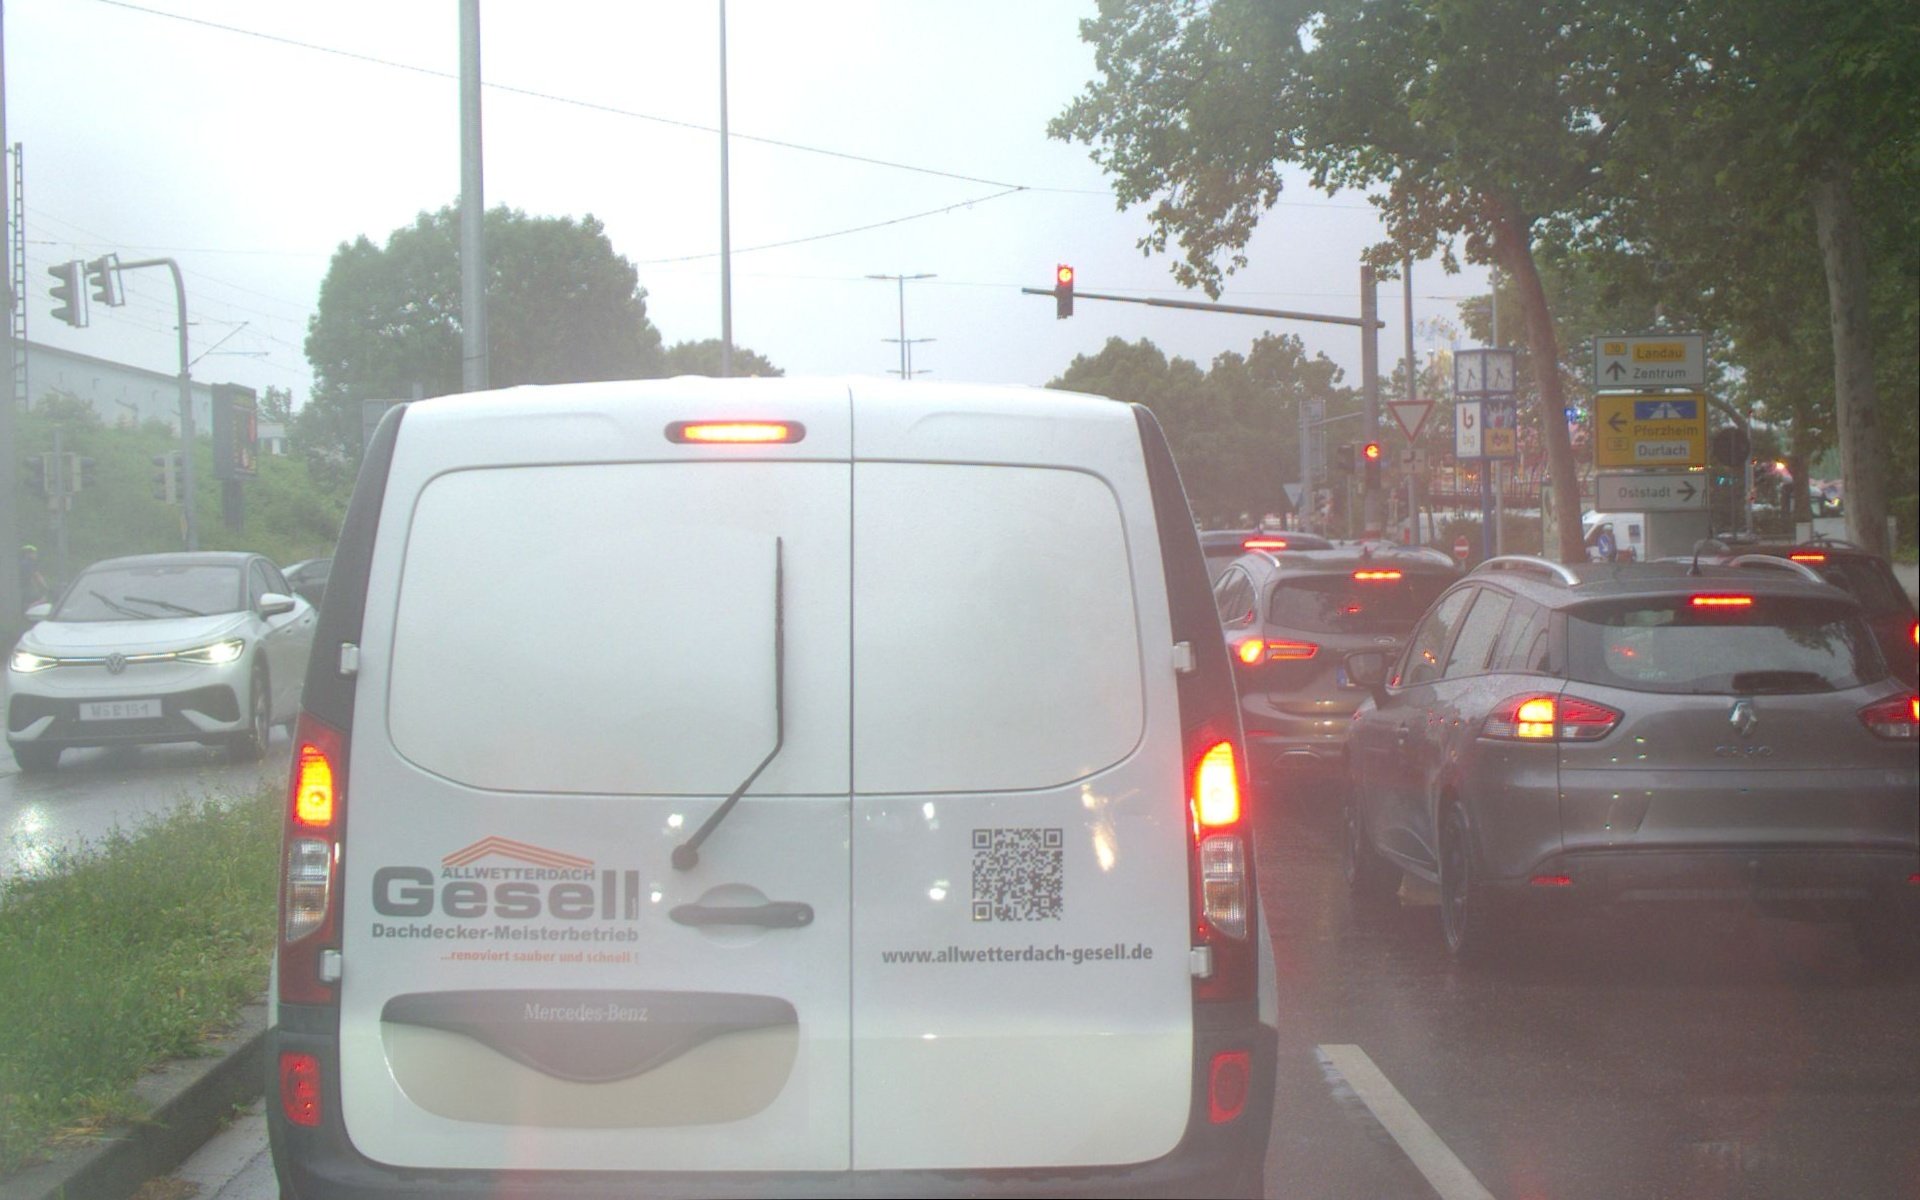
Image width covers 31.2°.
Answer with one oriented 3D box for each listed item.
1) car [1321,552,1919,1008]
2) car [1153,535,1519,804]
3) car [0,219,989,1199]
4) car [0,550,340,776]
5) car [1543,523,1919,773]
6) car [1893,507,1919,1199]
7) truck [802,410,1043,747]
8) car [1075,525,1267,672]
[{"bbox_3d":[2.481,0.560,13.203,1.711,1.440,4.000,0,1,-1],"label":"car"},{"bbox_3d":[2.155,0.339,20.675,1.711,1.440,4.000,0,1,-1],"label":"car"},{"bbox_3d":[-1.034,0.354,7.336,1.993,2.006,4.001,0,2,-2],"label":"car"},{"bbox_3d":[-6.243,0.428,27.327,1.962,1.520,4.335,-2,2,-2],"label":"car"},{"bbox_3d":[5.276,0.276,23.254,1.839,1.531,4.112,0,1,-2],"label":"car"},{"bbox_3d":[2.965,0.629,5.494,1.708,1.544,4.001,0,2,-2],"label":"car"},{"bbox_3d":[-0.357,-0.177,27.161,1.756,2.458,4.000,0,1,-2],"label":"truck"},{"bbox_3d":[2.159,-0.058,36.065,1.711,1.440,4.000,0,1,-1],"label":"car"}]
